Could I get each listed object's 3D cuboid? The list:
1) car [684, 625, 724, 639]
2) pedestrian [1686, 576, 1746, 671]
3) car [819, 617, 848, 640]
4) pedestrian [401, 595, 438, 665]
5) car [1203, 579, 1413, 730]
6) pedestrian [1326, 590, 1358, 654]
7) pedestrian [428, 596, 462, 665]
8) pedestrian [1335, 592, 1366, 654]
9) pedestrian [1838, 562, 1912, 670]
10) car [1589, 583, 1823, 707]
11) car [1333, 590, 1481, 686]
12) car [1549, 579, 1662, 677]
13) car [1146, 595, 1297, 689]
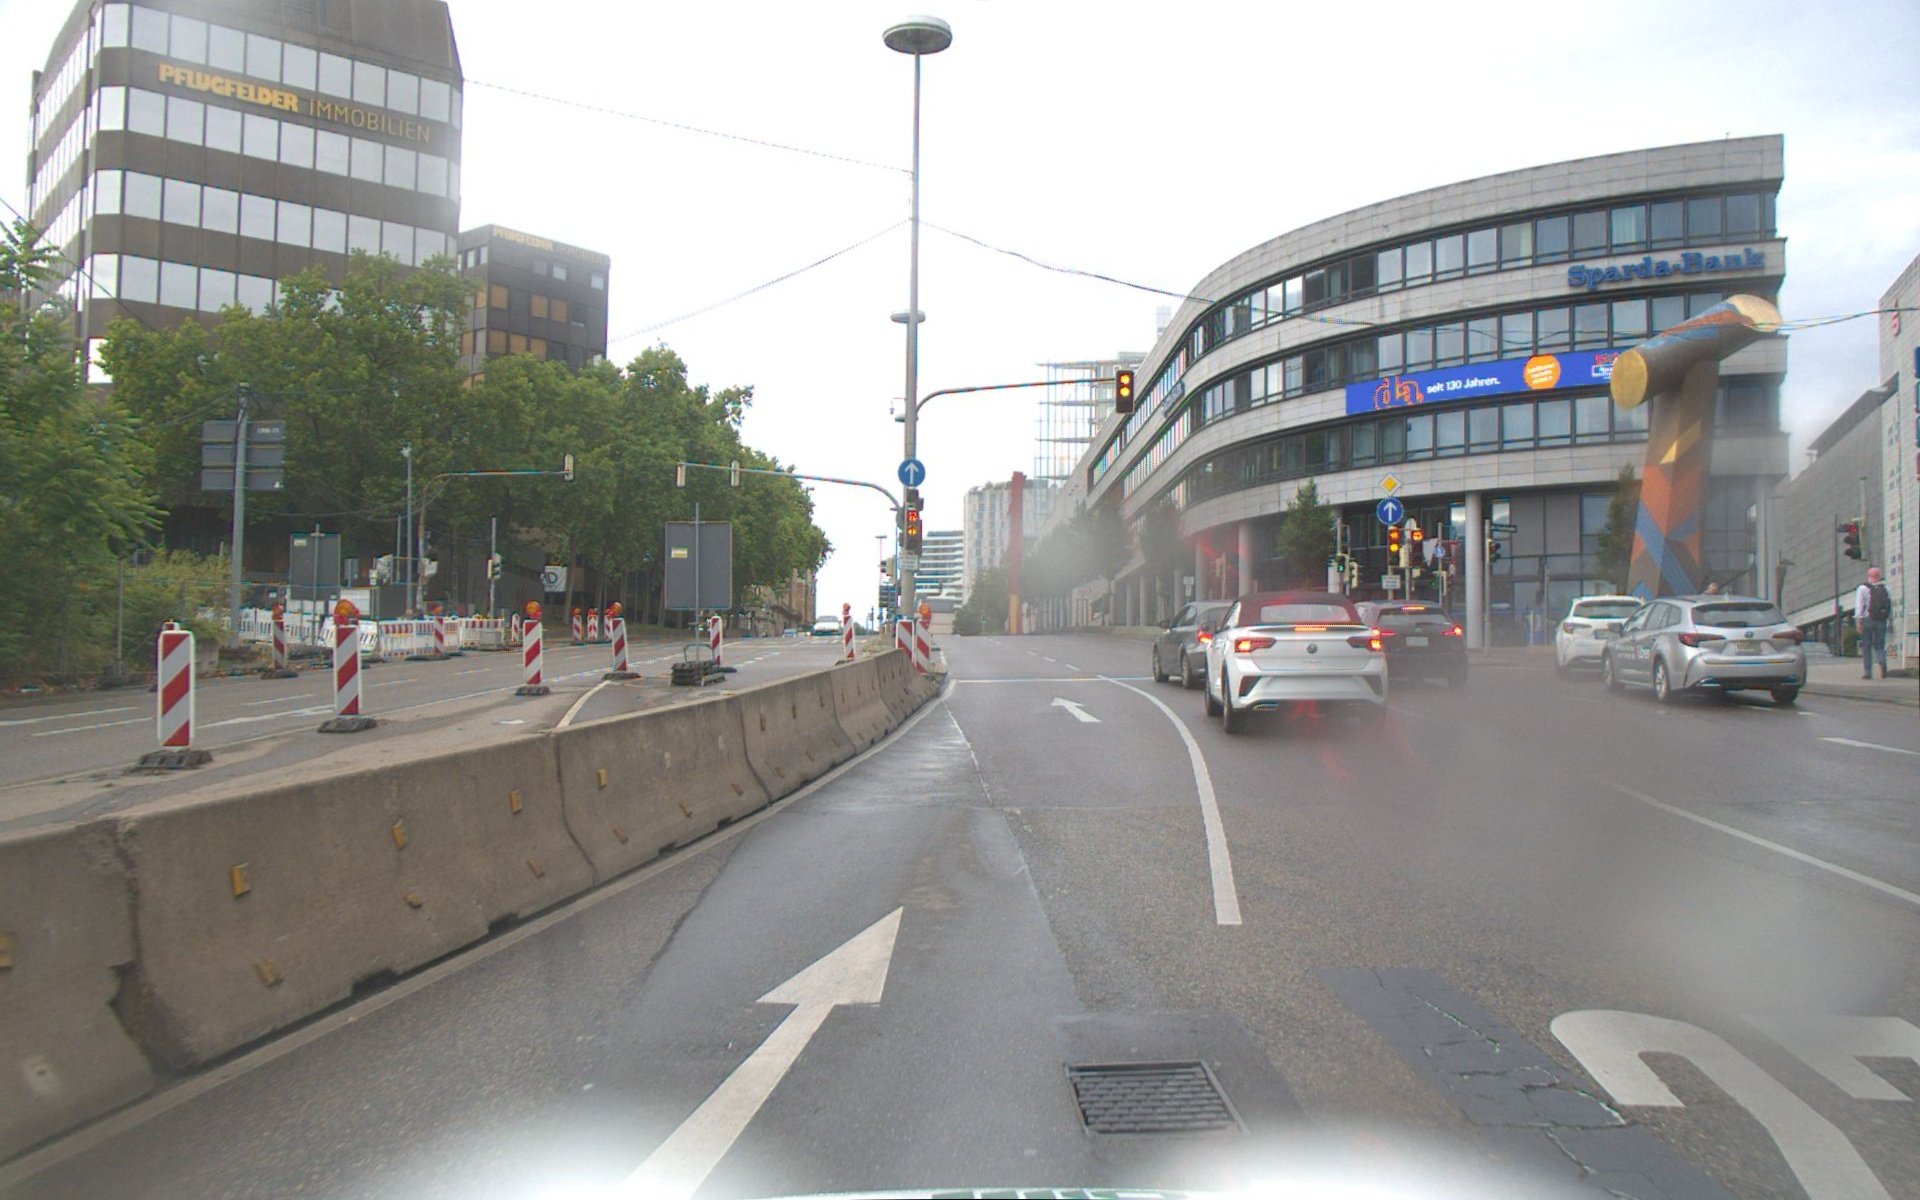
[{"bbox_3d":[-28.682,3.585,185.342,1.789,1.537,4.559,-4,-3,36],"label":"car"},{"bbox_3d":[17.303,0.536,37.864,0.841,2.135,0.897,2,-1,-24],"label":"pedestrian"},{"bbox_3d":[-8.641,1.964,113.113,1.725,1.486,4.358,-1,0,-2],"label":"car"},{"bbox_3d":[-15.340,0.853,46.965,0.745,1.956,0.742,0,-3,1],"label":"pedestrian"},{"bbox_3d":[3.961,0.585,19.485,1.922,1.576,4.221,0,0,5],"label":"car"},{"bbox_3d":[11.926,0.694,51.601,0.824,1.938,0.860,-1,-3,25],"label":"pedestrian"},{"bbox_3d":[-14.620,0.867,46.977,0.658,1.935,0.775,0,-3,1],"label":"pedestrian"},{"bbox_3d":[12.395,0.731,52.499,0.824,1.938,0.731,-1,-2,25],"label":"pedestrian"},{"bbox_3d":[15.065,0.279,27.256,0.715,1.741,0.843,0,-3,-2],"label":"pedestrian"},{"bbox_3d":[10.485,0.564,23.619,1.665,1.476,4.620,-2,1,7],"label":"car"},{"bbox_3d":[7.394,0.661,27.726,1.717,1.432,4.230,-2,-2,6],"label":"car"},{"bbox_3d":[11.838,0.492,30.565,1.734,1.663,4.582,0,0,19],"label":"car"},{"bbox_3d":[4.353,0.686,28.082,1.705,1.468,3.997,0,-1,-4],"label":"car"}]
